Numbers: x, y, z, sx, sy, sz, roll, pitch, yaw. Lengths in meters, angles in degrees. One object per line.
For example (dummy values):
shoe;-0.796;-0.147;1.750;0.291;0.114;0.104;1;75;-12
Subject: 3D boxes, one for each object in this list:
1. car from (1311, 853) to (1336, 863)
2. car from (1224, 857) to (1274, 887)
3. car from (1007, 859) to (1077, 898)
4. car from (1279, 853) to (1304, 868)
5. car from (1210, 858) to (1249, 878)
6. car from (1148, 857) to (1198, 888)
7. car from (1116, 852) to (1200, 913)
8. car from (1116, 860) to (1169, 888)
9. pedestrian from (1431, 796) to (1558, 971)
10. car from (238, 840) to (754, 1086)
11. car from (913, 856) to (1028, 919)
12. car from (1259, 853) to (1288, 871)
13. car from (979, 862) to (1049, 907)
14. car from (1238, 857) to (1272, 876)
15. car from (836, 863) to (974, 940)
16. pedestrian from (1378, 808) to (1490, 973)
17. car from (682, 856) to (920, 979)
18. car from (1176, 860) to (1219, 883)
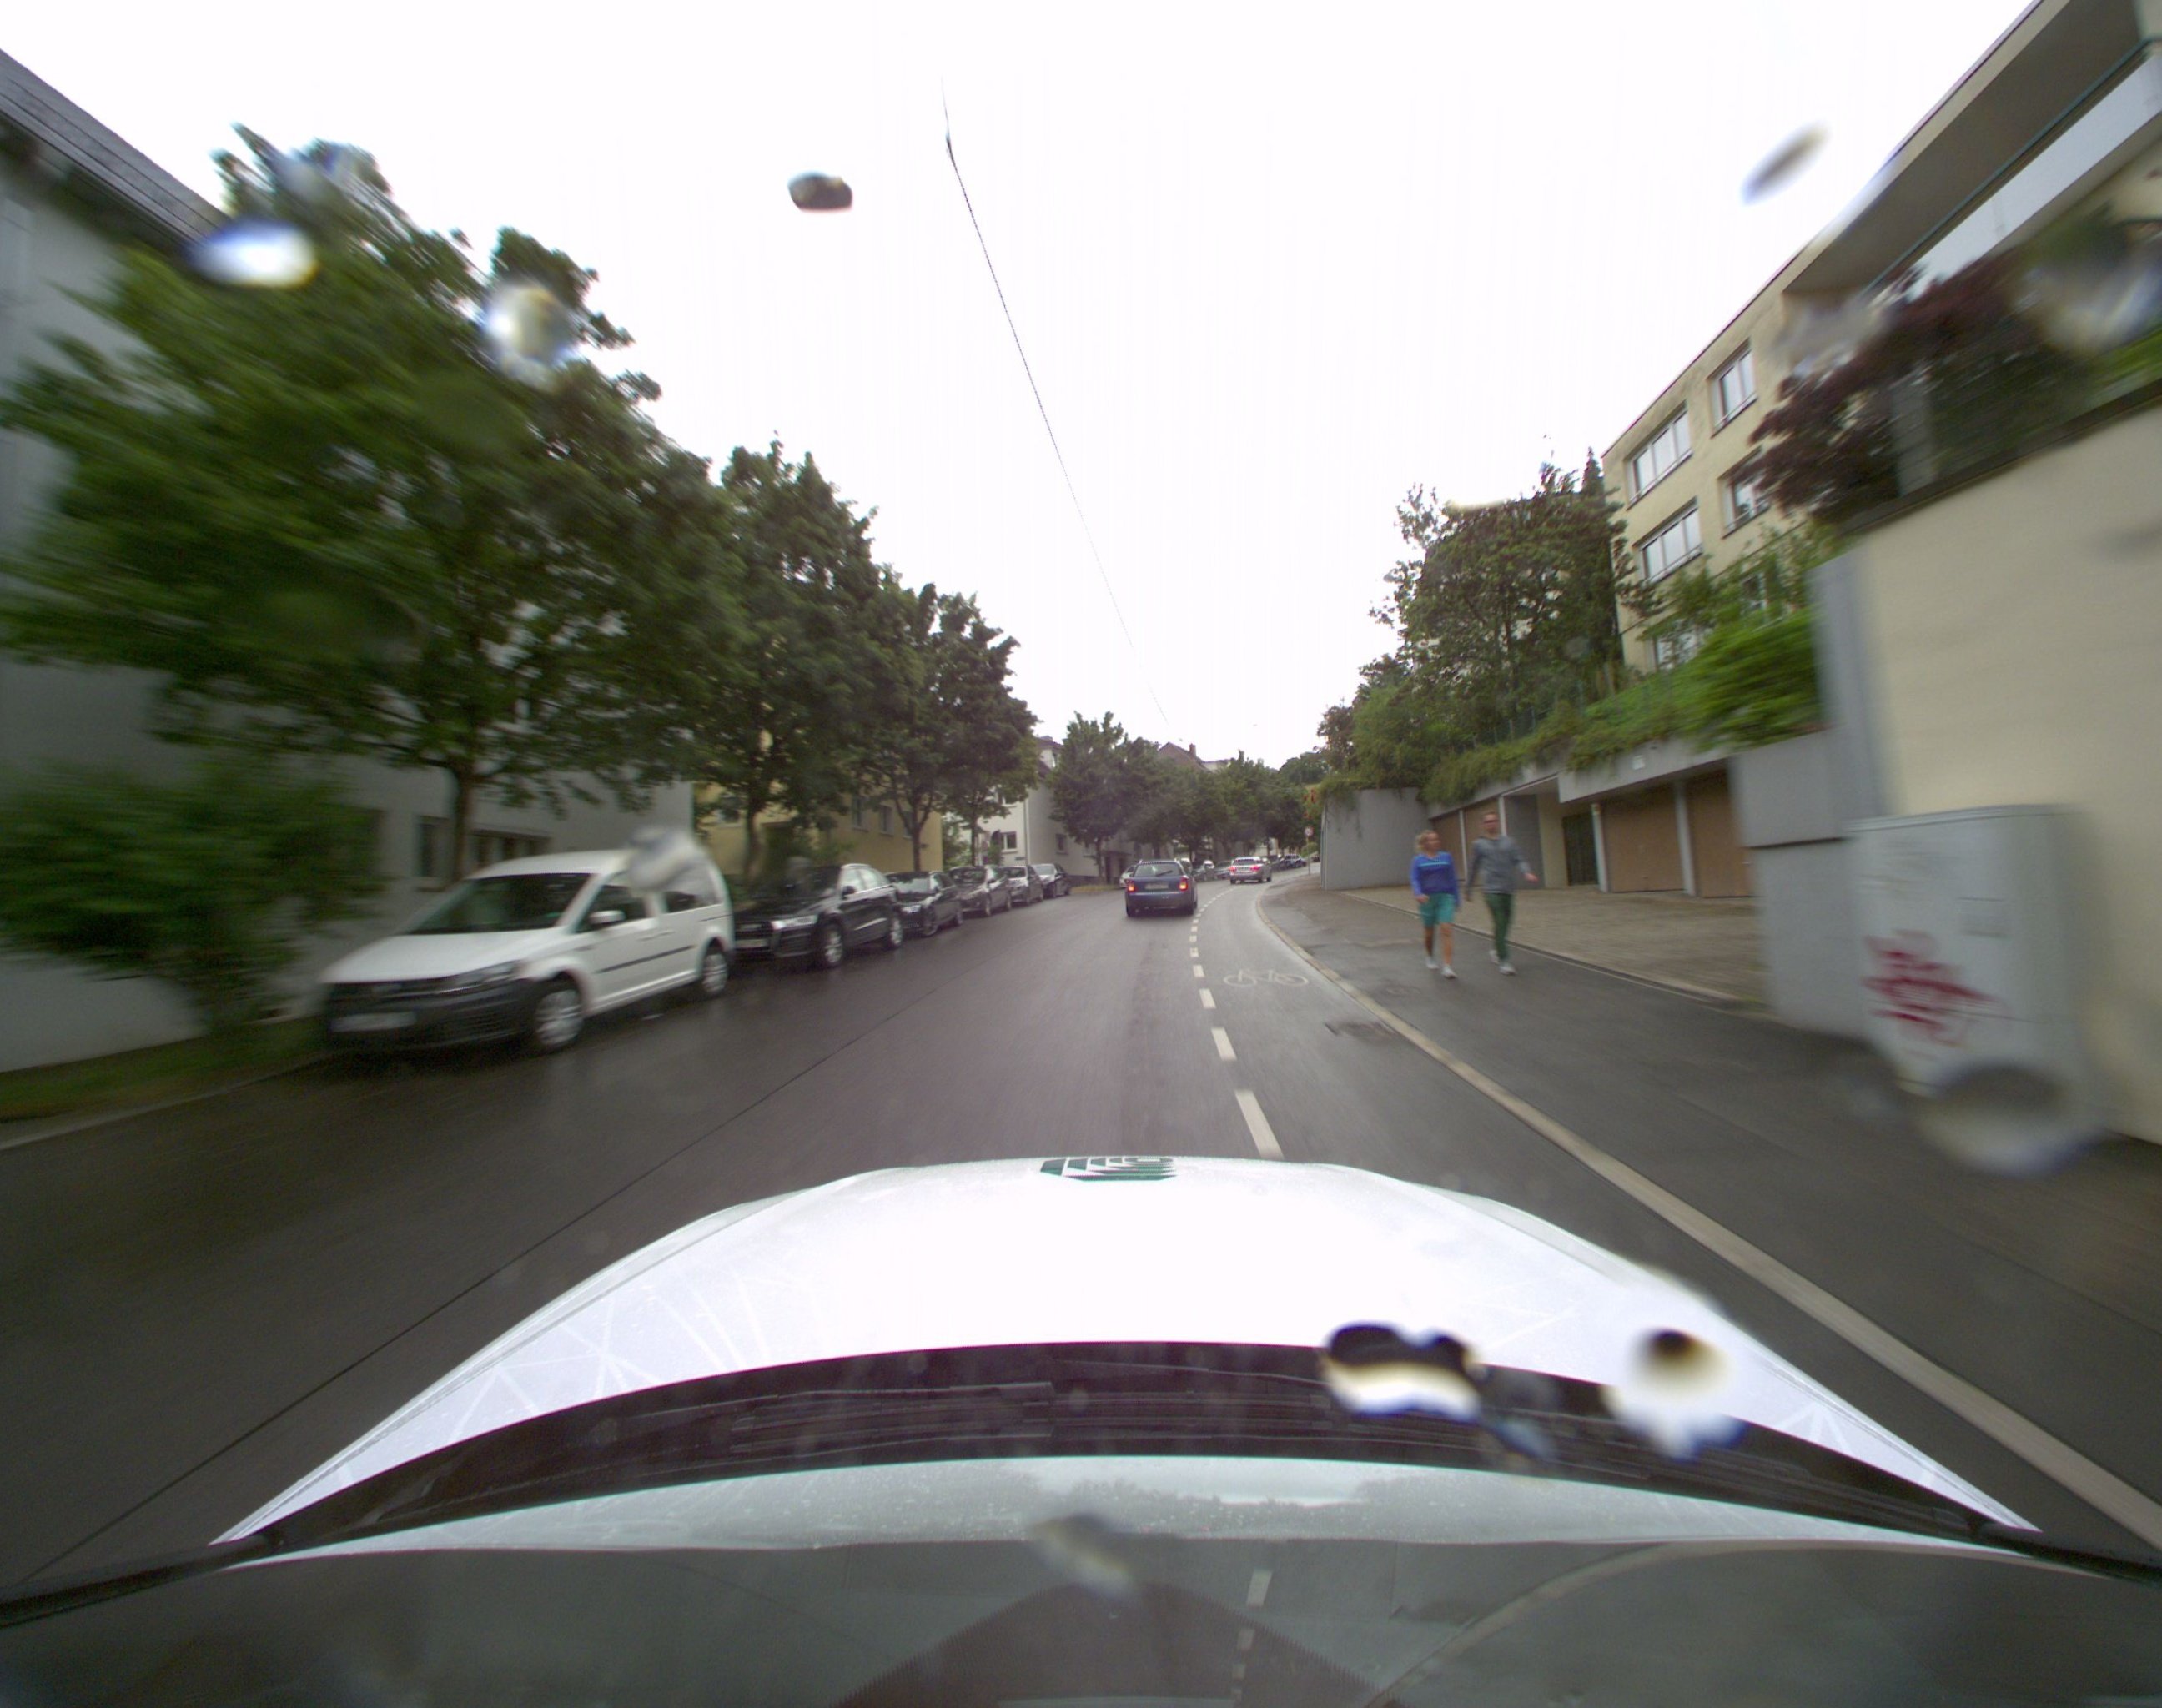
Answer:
car;44.091;0.686;148.284;4.187;1.508;1.727;-3;-1;-23
car;9.499;0.969;45.820;1.933;1.561;4.287;0;0;23
car;-1.568;1.000;34.729;1.763;1.540;4.532;-2;-1;13
car;22.566;0.678;87.138;1.696;1.462;3.905;-2;1;28
car;11.923;1.109;65.119;1.788;1.453;4.623;-3;-2;26
car;6.354;1.253;55.752;1.896;2.001;4.575;-3;-2;27
car;2.190;0.715;22.139;1.842;1.414;4.373;-4;-1;10
car;3.838;1.249;50.314;1.768;1.514;4.369;-7;-4;23
pedestrian;4.703;0.328;9.374;0.772;1.832;1.253;-4;-1;5
car;-5.379;0.856;8.452;1.846;1.777;4.486;-3;-1;3
car;-3.186;0.936;24.575;1.841;1.690;4.571;-2;-1;13
car;18.990;0.772;80.306;1.788;1.627;4.164;-3;-1;27
car;-2.334;1.049;29.516;1.605;1.397;4.331;-3;-1;7
car;15.938;1.152;74.274;1.788;1.552;4.828;-3;-2;27
car;-3.911;1.000;18.967;1.846;1.498;4.746;-2;0;4
pedestrian;4.072;0.409;9.492;0.771;1.758;1.013;-5;-2;4
car;-4.427;0.923;13.787;1.843;1.668;4.598;-3;-1;8
car;8.660;1.288;60.219;1.788;1.486;4.260;-6;-4;25
